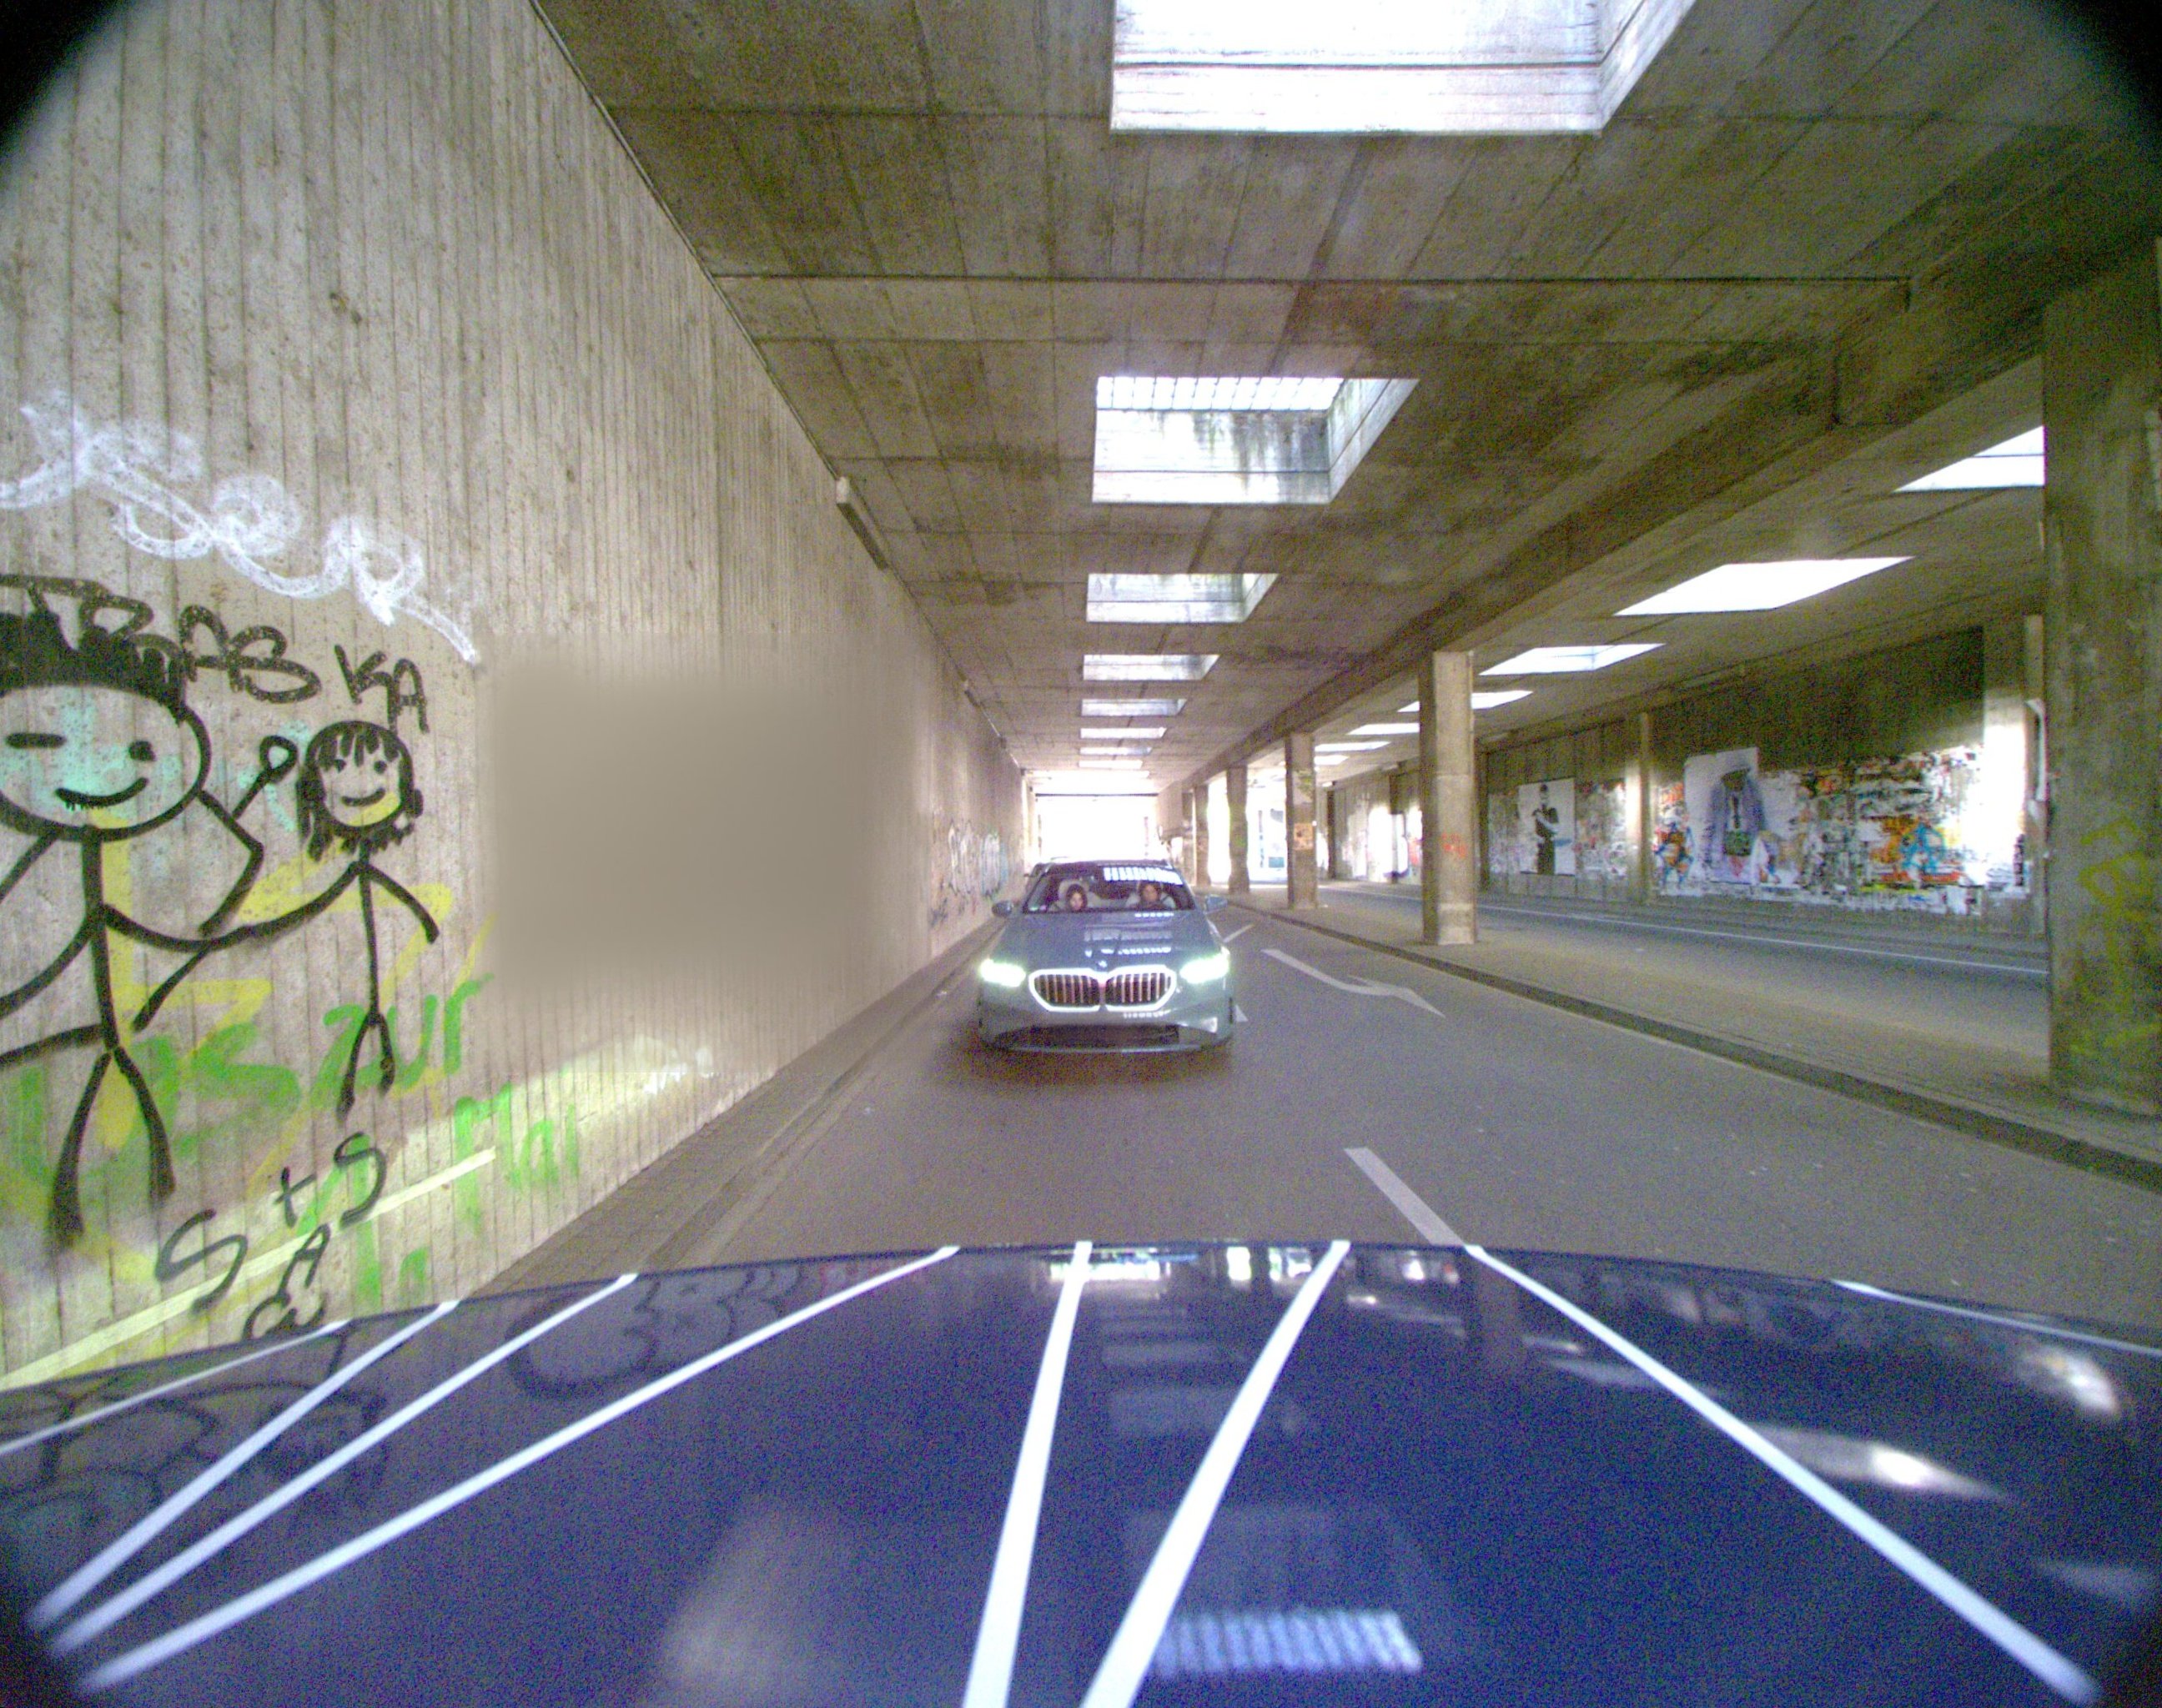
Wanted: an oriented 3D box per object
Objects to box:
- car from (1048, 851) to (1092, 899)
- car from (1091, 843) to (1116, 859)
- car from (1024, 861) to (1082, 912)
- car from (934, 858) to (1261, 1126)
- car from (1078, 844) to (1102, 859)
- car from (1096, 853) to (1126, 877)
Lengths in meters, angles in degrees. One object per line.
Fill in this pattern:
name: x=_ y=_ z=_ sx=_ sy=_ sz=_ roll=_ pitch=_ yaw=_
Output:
car: x=-0.376 y=0.764 z=29.886 sx=1.581 sy=1.676 sz=4.078 roll=-2 pitch=0 yaw=1
car: x=2.842 y=-0.345 z=97.518 sx=2.361 sy=2.002 sz=5.146 roll=-1 pitch=0 yaw=-8
car: x=-0.799 y=0.946 z=23.880 sx=1.593 sy=1.387 sz=3.833 roll=-2 pitch=0 yaw=1
car: x=0.179 y=0.881 z=7.305 sx=1.998 sy=1.594 sz=5.176 roll=-1 pitch=0 yaw=2
car: x=1.187 y=-0.351 z=103.530 sx=2.361 sy=2.002 sz=5.146 roll=-1 pitch=0 yaw=-8
car: x=1.925 y=0.699 z=49.109 sx=1.784 sy=1.438 sz=4.178 roll=-1 pitch=0 yaw=0
